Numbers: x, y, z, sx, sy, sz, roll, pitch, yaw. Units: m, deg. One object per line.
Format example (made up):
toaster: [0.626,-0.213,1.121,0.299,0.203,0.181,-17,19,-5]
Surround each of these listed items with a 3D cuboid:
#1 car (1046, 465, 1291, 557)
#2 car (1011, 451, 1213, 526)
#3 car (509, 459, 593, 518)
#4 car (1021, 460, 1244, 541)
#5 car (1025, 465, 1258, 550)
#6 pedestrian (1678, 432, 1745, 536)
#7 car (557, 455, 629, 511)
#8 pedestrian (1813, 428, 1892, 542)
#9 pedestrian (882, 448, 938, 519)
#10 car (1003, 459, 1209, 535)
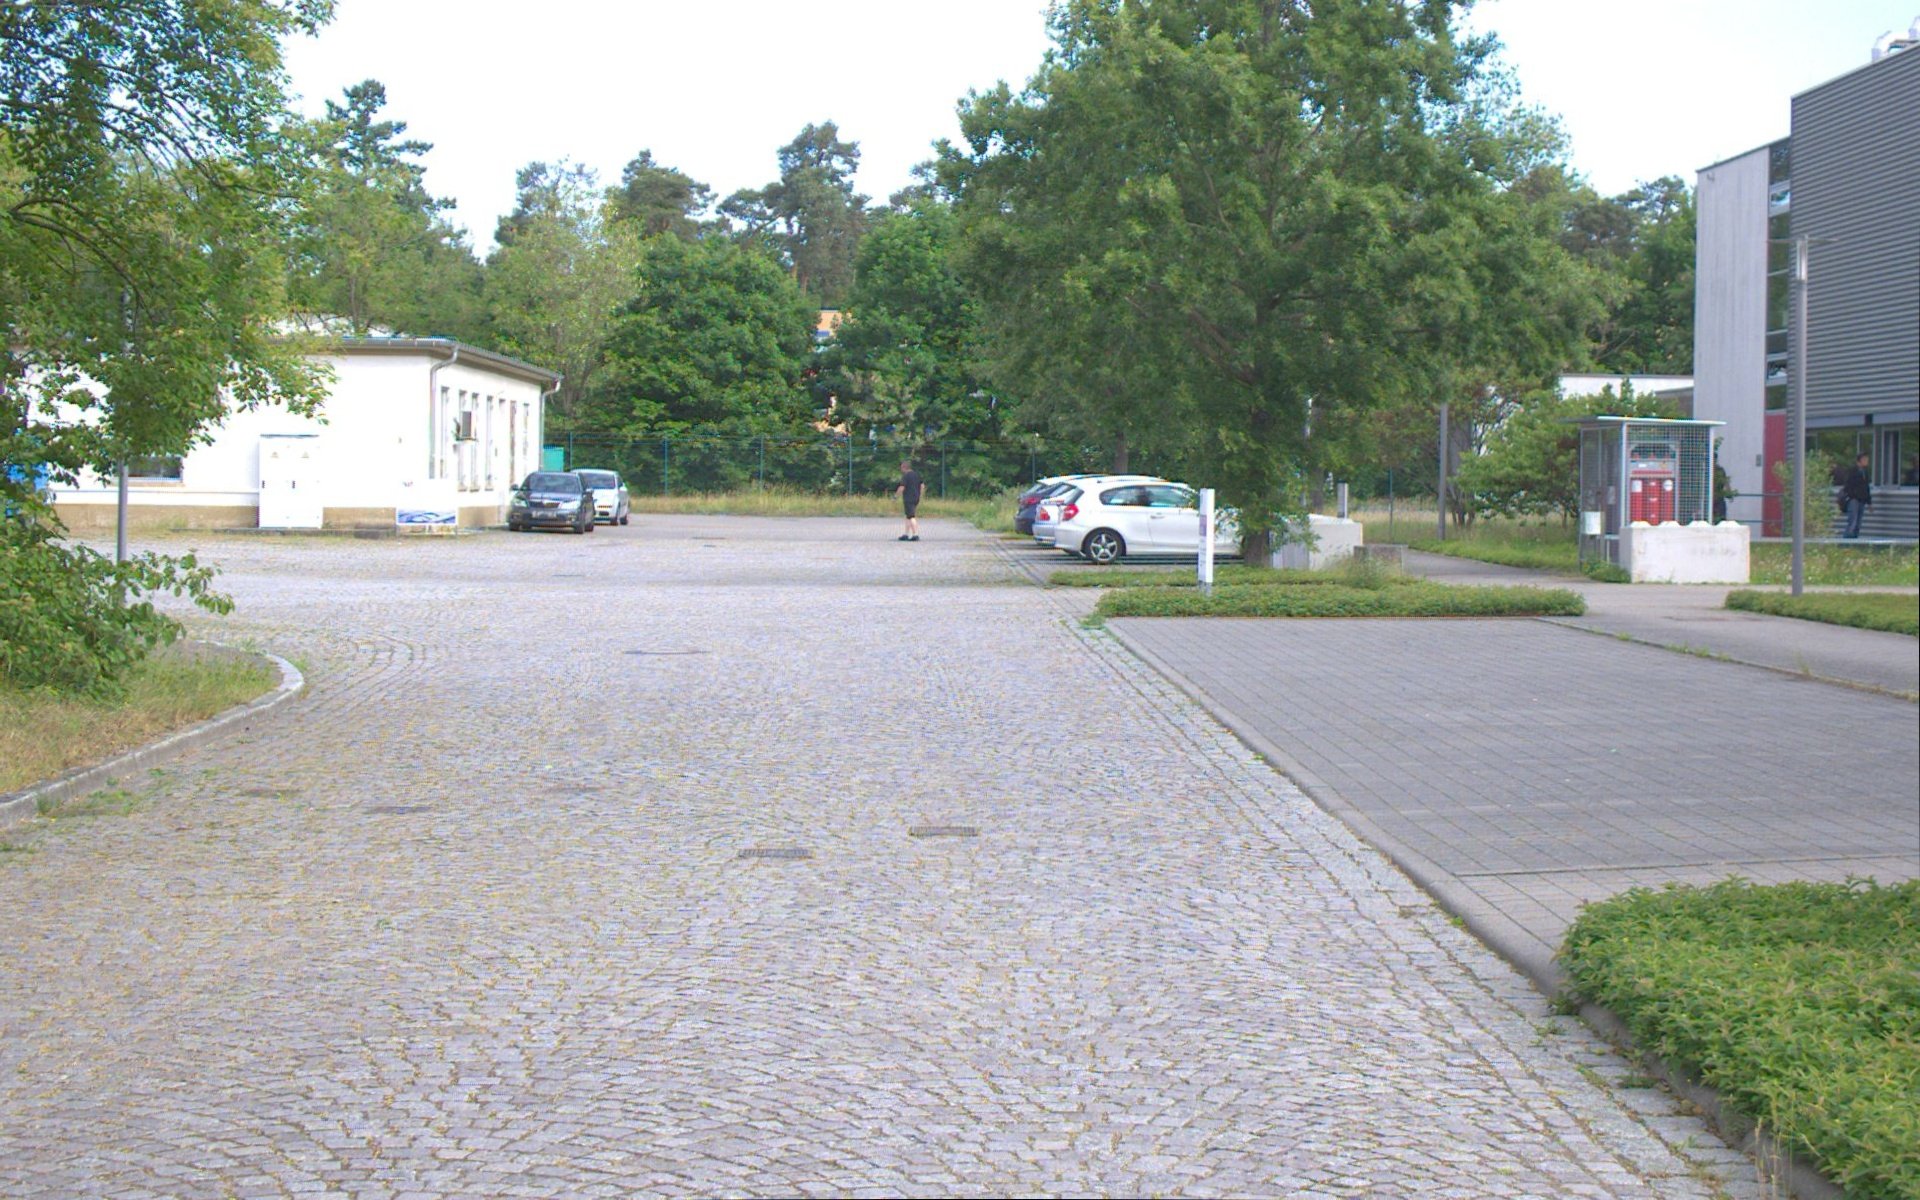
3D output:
car: [3.502,-1.510,58.362,3.987,1.450,2.000,1,2,-1]
car: [3.141,-2.331,71.669,3.986,1.528,2.001,0,2,-5]
car: [-9.744,-2.679,82.155,1.748,1.359,4.001,0,2,-3]
car: [3.160,-1.846,63.561,3.987,1.450,1.770,0,2,-1]
car: [3.164,-1.638,60.525,3.987,1.450,1.697,0,2,-1]
pedestrian: [14.668,-2.266,67.104,0.920,2.006,1.147,0,2,-7]
car: [-9.836,-3.150,92.378,1.748,1.449,4.001,0,2,-3]
pedestrian: [15.271,-1.975,58.836,0.917,1.930,0.855,0,2,-31]
pedestrian: [-1.116,-2.621,77.292,0.939,1.563,0.971,0,2,-24]
car: [2.879,-2.057,68.458,3.987,1.450,1.770,0,2,-1]
